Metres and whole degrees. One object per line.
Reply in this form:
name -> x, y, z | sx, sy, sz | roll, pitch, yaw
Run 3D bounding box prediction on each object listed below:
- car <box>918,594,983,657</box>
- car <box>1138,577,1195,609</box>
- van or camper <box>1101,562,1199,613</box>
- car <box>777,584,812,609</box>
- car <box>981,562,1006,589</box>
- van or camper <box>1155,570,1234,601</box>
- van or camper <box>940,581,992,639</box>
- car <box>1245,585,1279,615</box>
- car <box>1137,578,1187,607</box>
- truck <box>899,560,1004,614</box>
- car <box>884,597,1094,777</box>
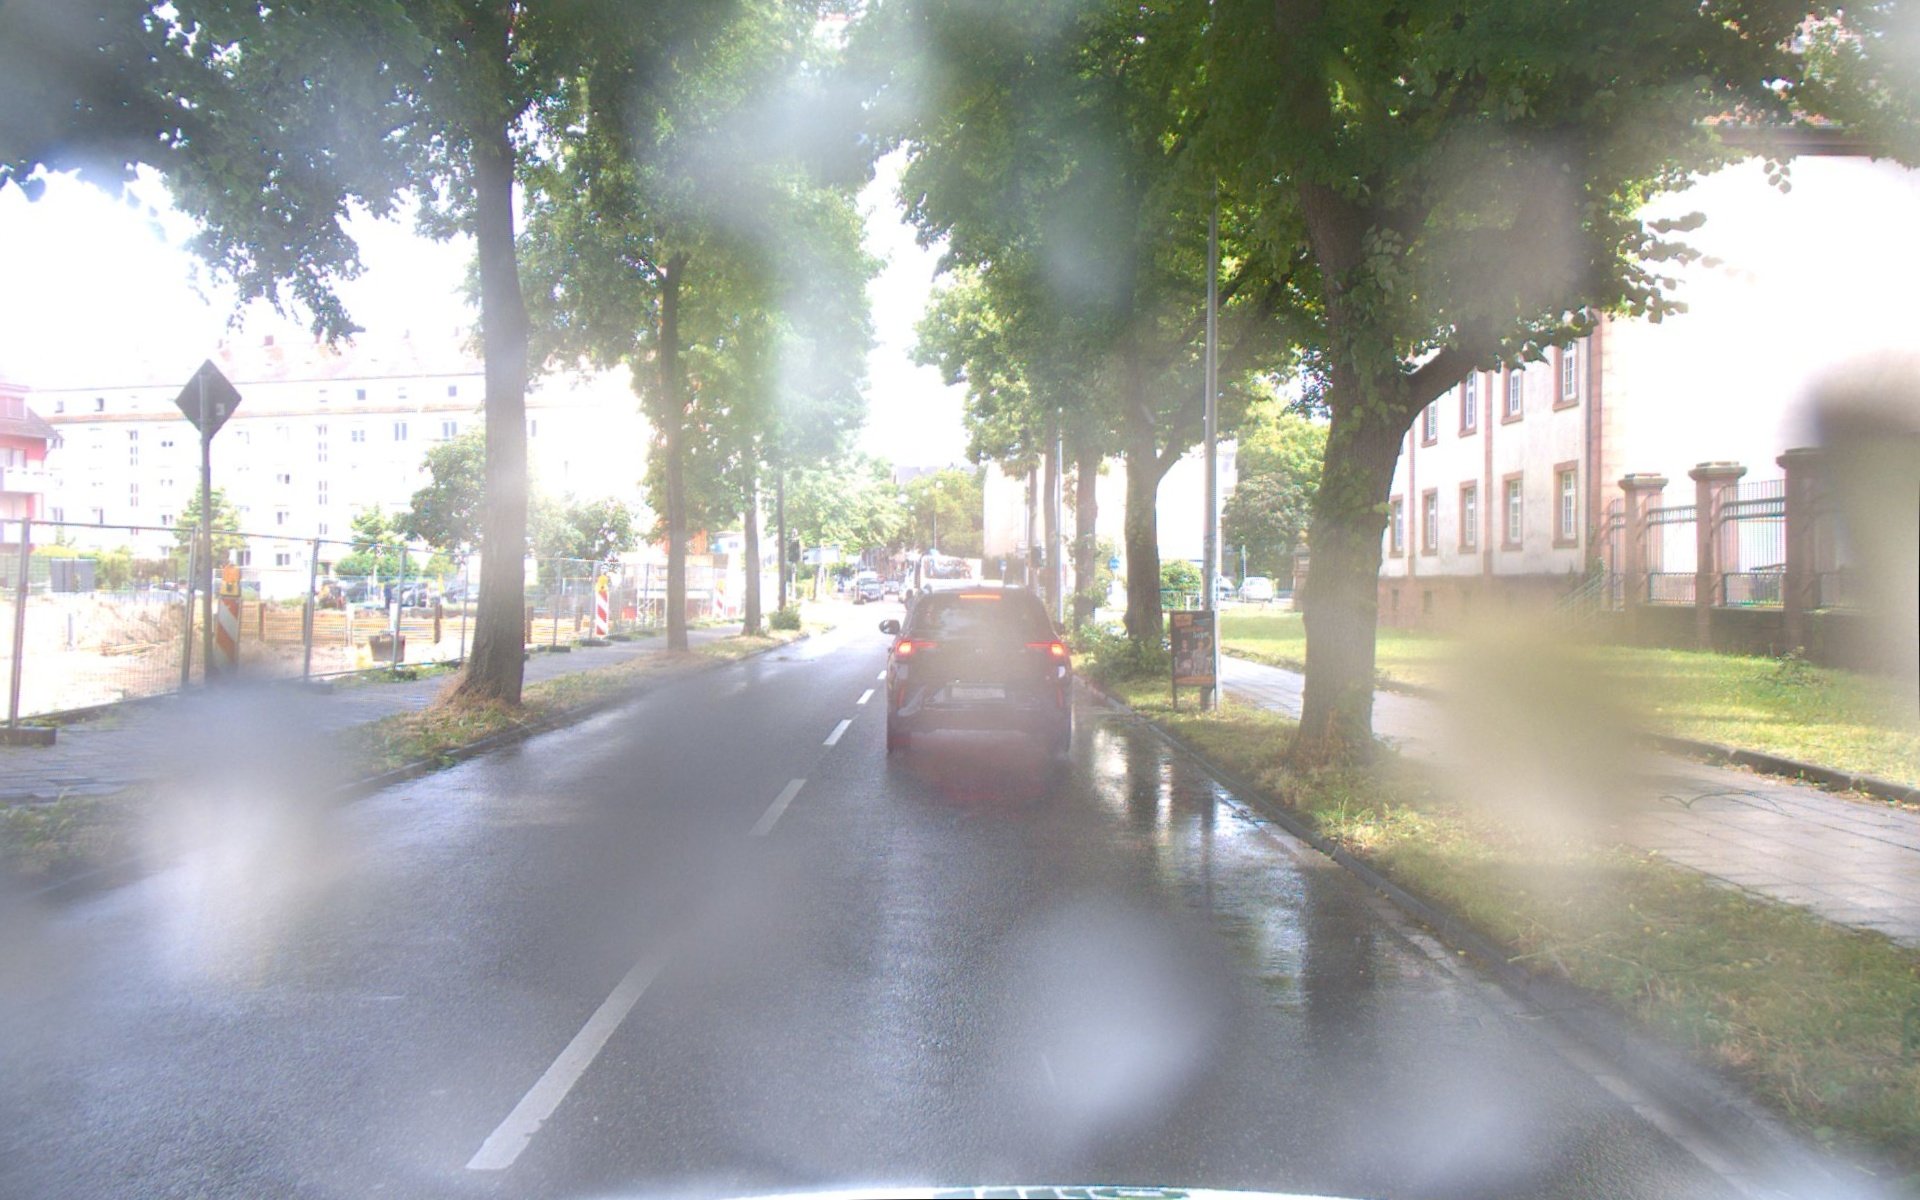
car -> -0.251, 0.728, 49.577 | 1.645, 1.738, 3.911 | -3, 0, 3
car -> 12.511, -0.424, 100.215 | 3.335, 1.812, 1.761 | -1, 0, 6
van or camper -> 10.083, -0.676, 88.121 | 4.931, 2.641, 2.167 | -1, 0, -2
car -> -11.207, -0.239, 111.997 | 1.557, 1.538, 3.734 | -3, 1, 6
car -> 2.665, -1.962, 133.807 | 1.953, 2.049, 4.000 | 0, 0, 0
van or camper -> 14.943, -0.930, 105.689 | 4.774, 1.959, 2.131 | 0, 1, 0
van or camper -> 0.234, 0.327, 59.652 | 1.782, 1.981, 4.196 | 1, 1, 1
car -> 18.536, -0.006, 101.590 | 1.706, 1.713, 3.873 | -3, 0, 6
car -> 14.096, -0.533, 115.564 | 3.334, 1.812, 1.761 | -3, 0, 9
truck -> -0.553, -0.756, 88.665 | 2.767, 2.703, 8.184 | 0, 1, -23
car -> 0.234, 0.768, 16.642 | 1.856, 1.549, 4.000 | 0, 1, -1
